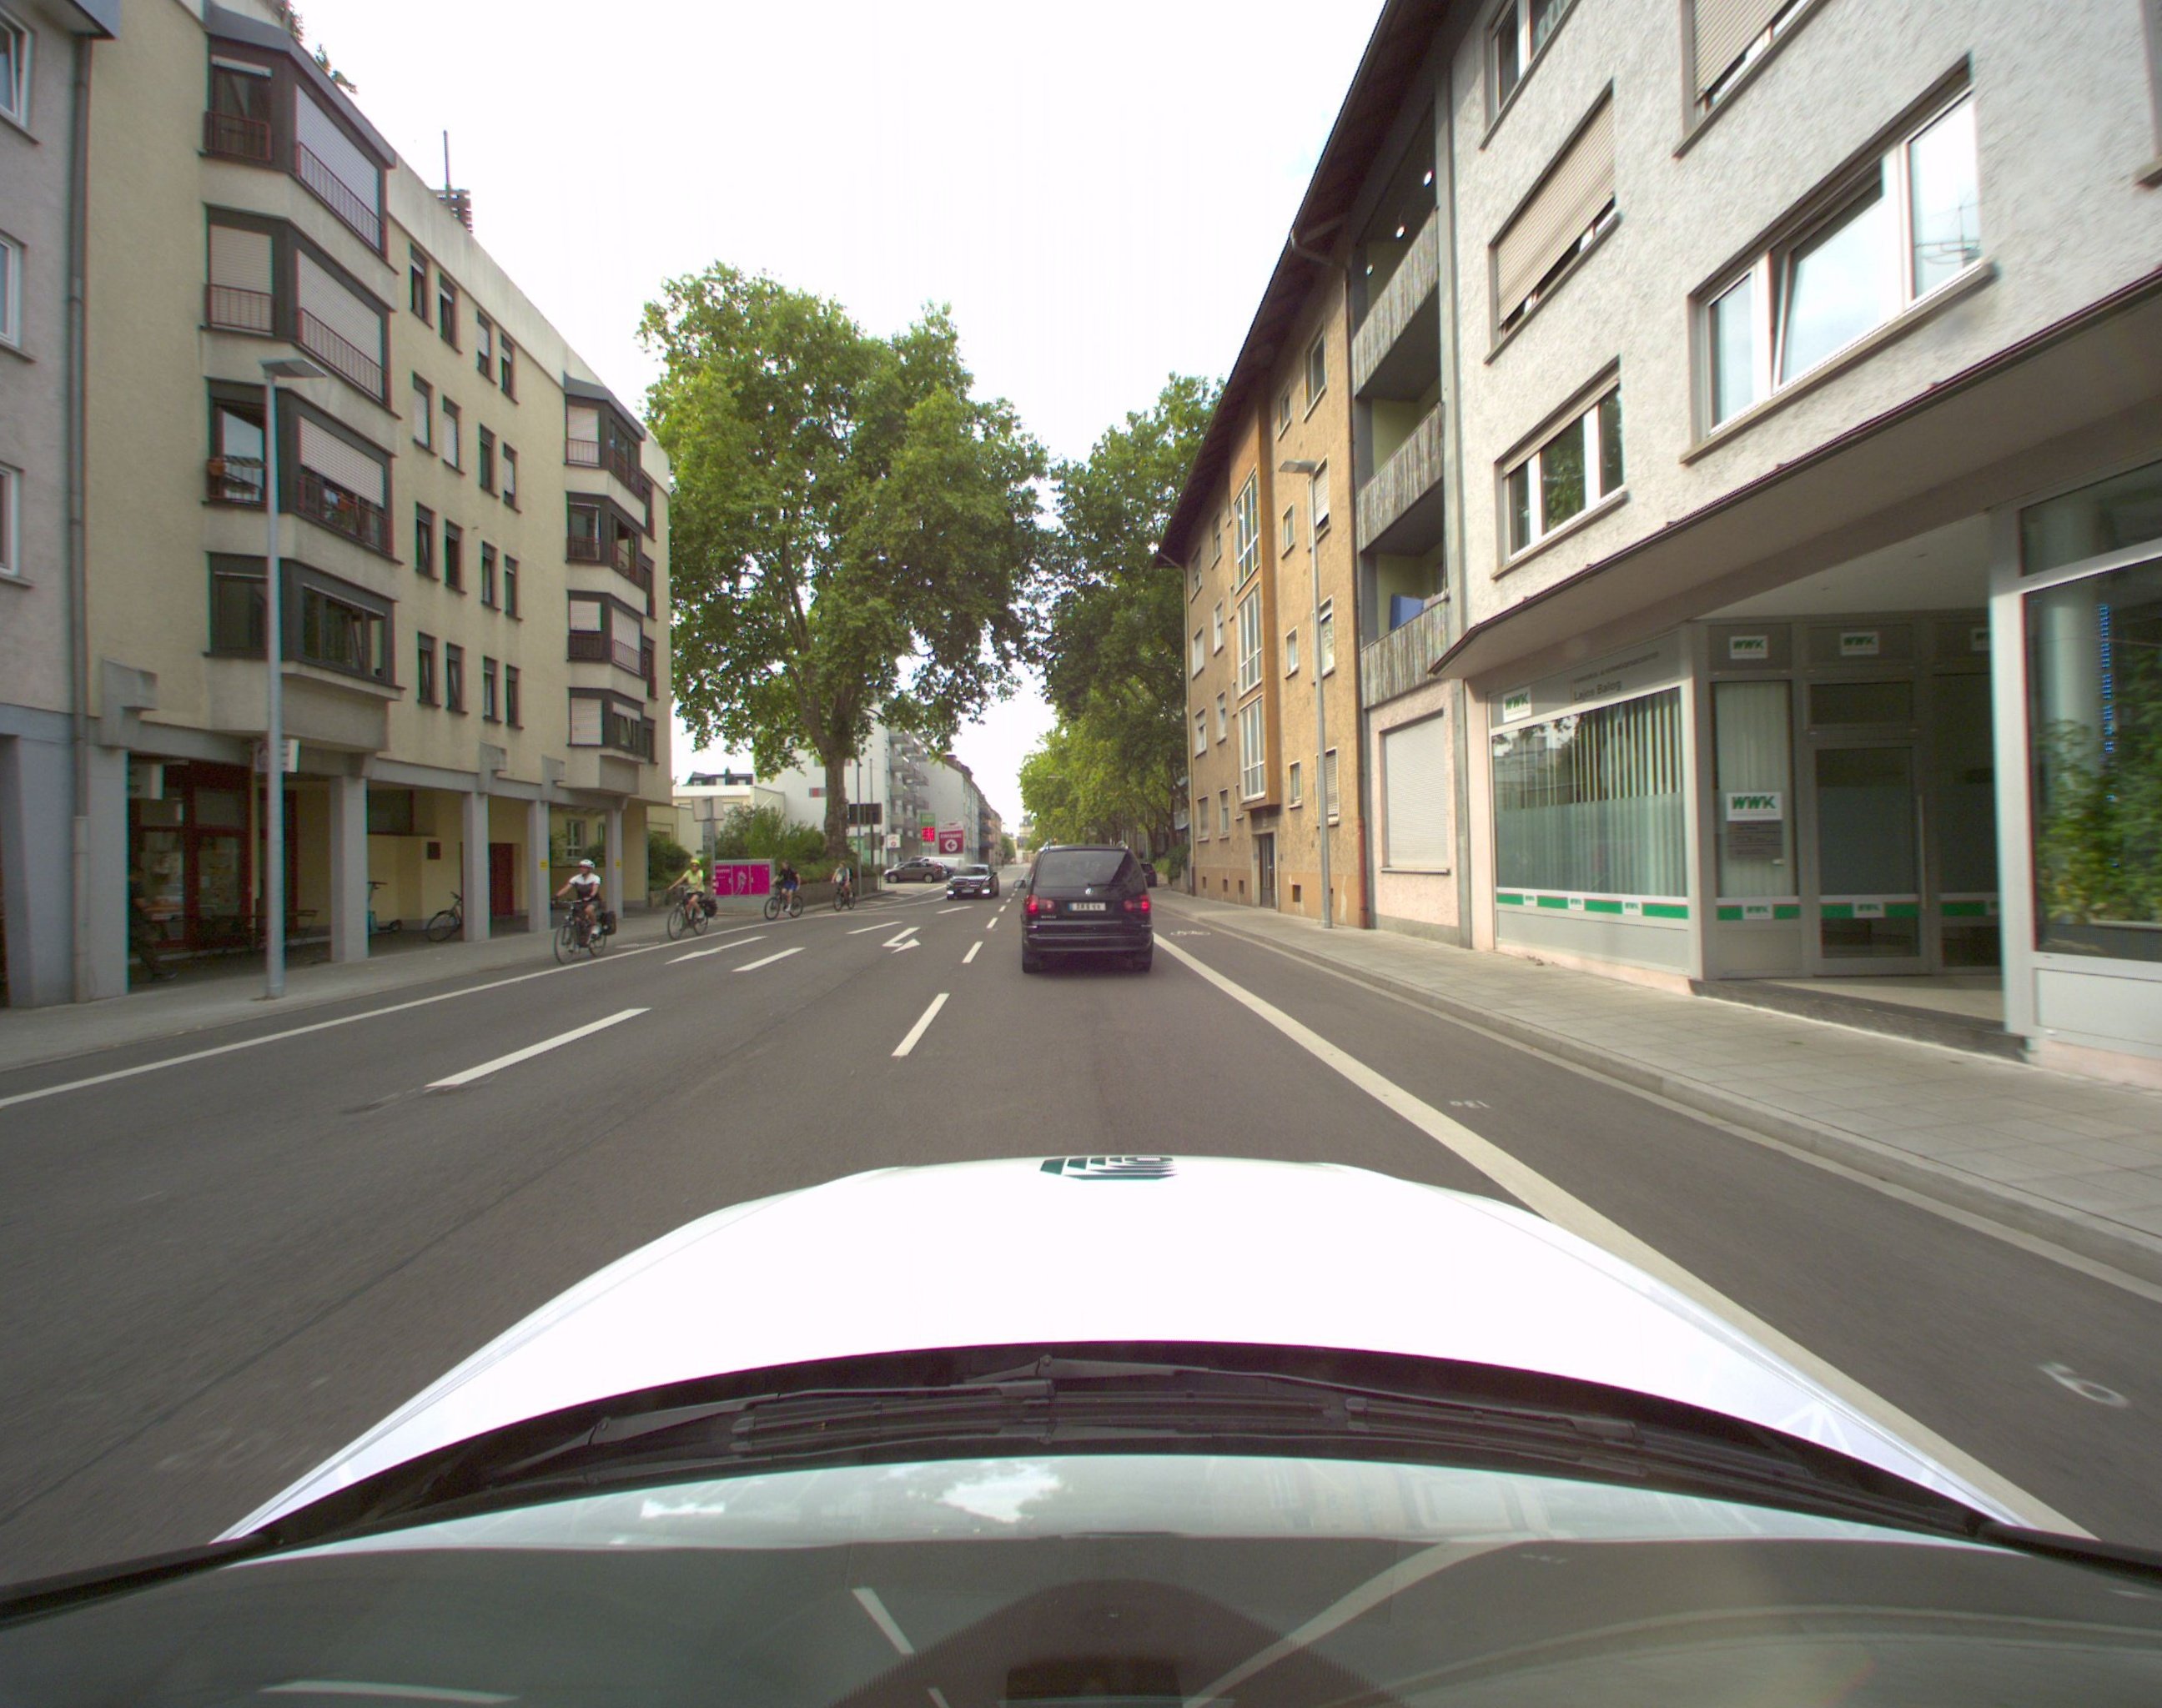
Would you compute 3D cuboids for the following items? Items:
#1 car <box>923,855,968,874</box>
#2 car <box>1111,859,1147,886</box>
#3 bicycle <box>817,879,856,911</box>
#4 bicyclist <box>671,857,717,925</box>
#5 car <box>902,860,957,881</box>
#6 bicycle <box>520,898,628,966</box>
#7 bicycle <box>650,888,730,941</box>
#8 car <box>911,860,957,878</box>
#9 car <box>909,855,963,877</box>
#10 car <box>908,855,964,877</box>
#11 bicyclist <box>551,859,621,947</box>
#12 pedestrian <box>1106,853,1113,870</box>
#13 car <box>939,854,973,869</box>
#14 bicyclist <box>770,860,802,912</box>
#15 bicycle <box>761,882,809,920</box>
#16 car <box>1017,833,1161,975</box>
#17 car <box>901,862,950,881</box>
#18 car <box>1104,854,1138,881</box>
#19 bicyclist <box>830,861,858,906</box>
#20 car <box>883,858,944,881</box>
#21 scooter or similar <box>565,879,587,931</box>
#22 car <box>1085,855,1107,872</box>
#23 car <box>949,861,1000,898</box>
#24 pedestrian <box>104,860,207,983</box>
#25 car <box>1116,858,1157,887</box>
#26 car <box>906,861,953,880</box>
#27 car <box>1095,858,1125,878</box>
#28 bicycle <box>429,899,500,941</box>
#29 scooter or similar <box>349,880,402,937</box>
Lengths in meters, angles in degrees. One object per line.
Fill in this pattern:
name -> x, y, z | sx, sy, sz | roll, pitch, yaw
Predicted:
car -> -13.632, 1.046, 81.937 | 4.300, 1.870, 1.821 | 1, -1, -5
car -> 2.808, 1.079, 48.267 | 1.654, 1.422, 3.941 | -1, 0, -4
bicycle -> -8.721, 1.448, 29.154 | 0.735, 1.007, 2.195 | 0, 1, 0
bicyclist -> -8.993, 0.840, 18.960 | 0.654, 1.525, 0.841 | 0, 1, 1
car -> -11.798, 1.267, 63.720 | 3.929, 1.569, 1.752 | 1, 0, -2
bicycle -> -9.105, 1.365, 14.723 | 0.735, 1.007, 1.909 | 1, 1, 1
bicycle -> -9.014, 1.365, 18.901 | 0.735, 1.007, 2.252 | 1, 1, 1
car -> -12.577, 1.305, 70.023 | 3.675, 1.444, 1.751 | 1, 0, -4
car -> -12.889, 1.061, 72.618 | 4.516, 1.878, 2.045 | 1, -1, -3
car -> -13.346, 1.087, 75.138 | 4.907, 1.903, 1.997 | 1, -1, -4
bicyclist -> -9.010, 0.862, 14.863 | 0.654, 1.525, 1.002 | 0, 1, 1
pedestrian -> 3.219, 0.849, 91.673 | 0.641, 1.975, 0.691 | 0, 1, -3
car -> -12.948, 0.801, 84.331 | 3.338, 1.497, 1.593 | 1, -1, -6
bicyclist -> -8.975, 0.971, 24.796 | 0.654, 1.525, 0.856 | 0, 1, 1
bicycle -> -8.971, 1.398, 24.771 | 0.735, 1.007, 1.976 | 0, 1, 0
car -> 0.005, 0.613, 12.071 | 1.808, 1.766, 3.733 | 0, 0, -3
car -> -12.591, 1.413, 66.005 | 3.675, 1.426, 1.750 | 1, 0, -5
car -> 2.569, 0.842, 53.585 | 1.655, 1.650, 4.412 | 1, 0, -5
bicyclist -> -8.434, 1.032, 29.014 | 0.654, 1.525, 1.076 | 0, 1, 1
car -> -12.557, 1.165, 61.231 | 4.247, 1.605, 1.966 | 0, 1, -3
scooter or similar -> -12.594, 1.251, 20.313 | 0.288, 1.265, 1.163 | -1, -1, -40
car -> 1.316, 0.842, 74.089 | 1.627, 1.470, 4.310 | -1, -1, -4
car -> -4.461, 1.036, 34.637 | 1.806, 1.408, 4.602 | -1, 0, -4
pedestrian -> -13.756, 0.979, 12.128 | 0.580, 1.757, 0.783 | 1, -1, -4
car -> 2.935, 0.956, 43.629 | 1.654, 1.422, 3.861 | -1, 0, -4
car -> -12.624, 1.390, 67.895 | 3.675, 1.485, 1.750 | 1, 0, -5
car -> 2.014, 1.009, 58.412 | 1.672, 1.394, 4.454 | -1, -1, -4
bicycle -> -13.819, 1.471, 18.310 | 0.428, 0.821, 1.617 | -1, -1, -3
scooter or similar -> -16.163, 1.223, 18.686 | 0.286, 1.201, 1.174 | -1, 1, -7
